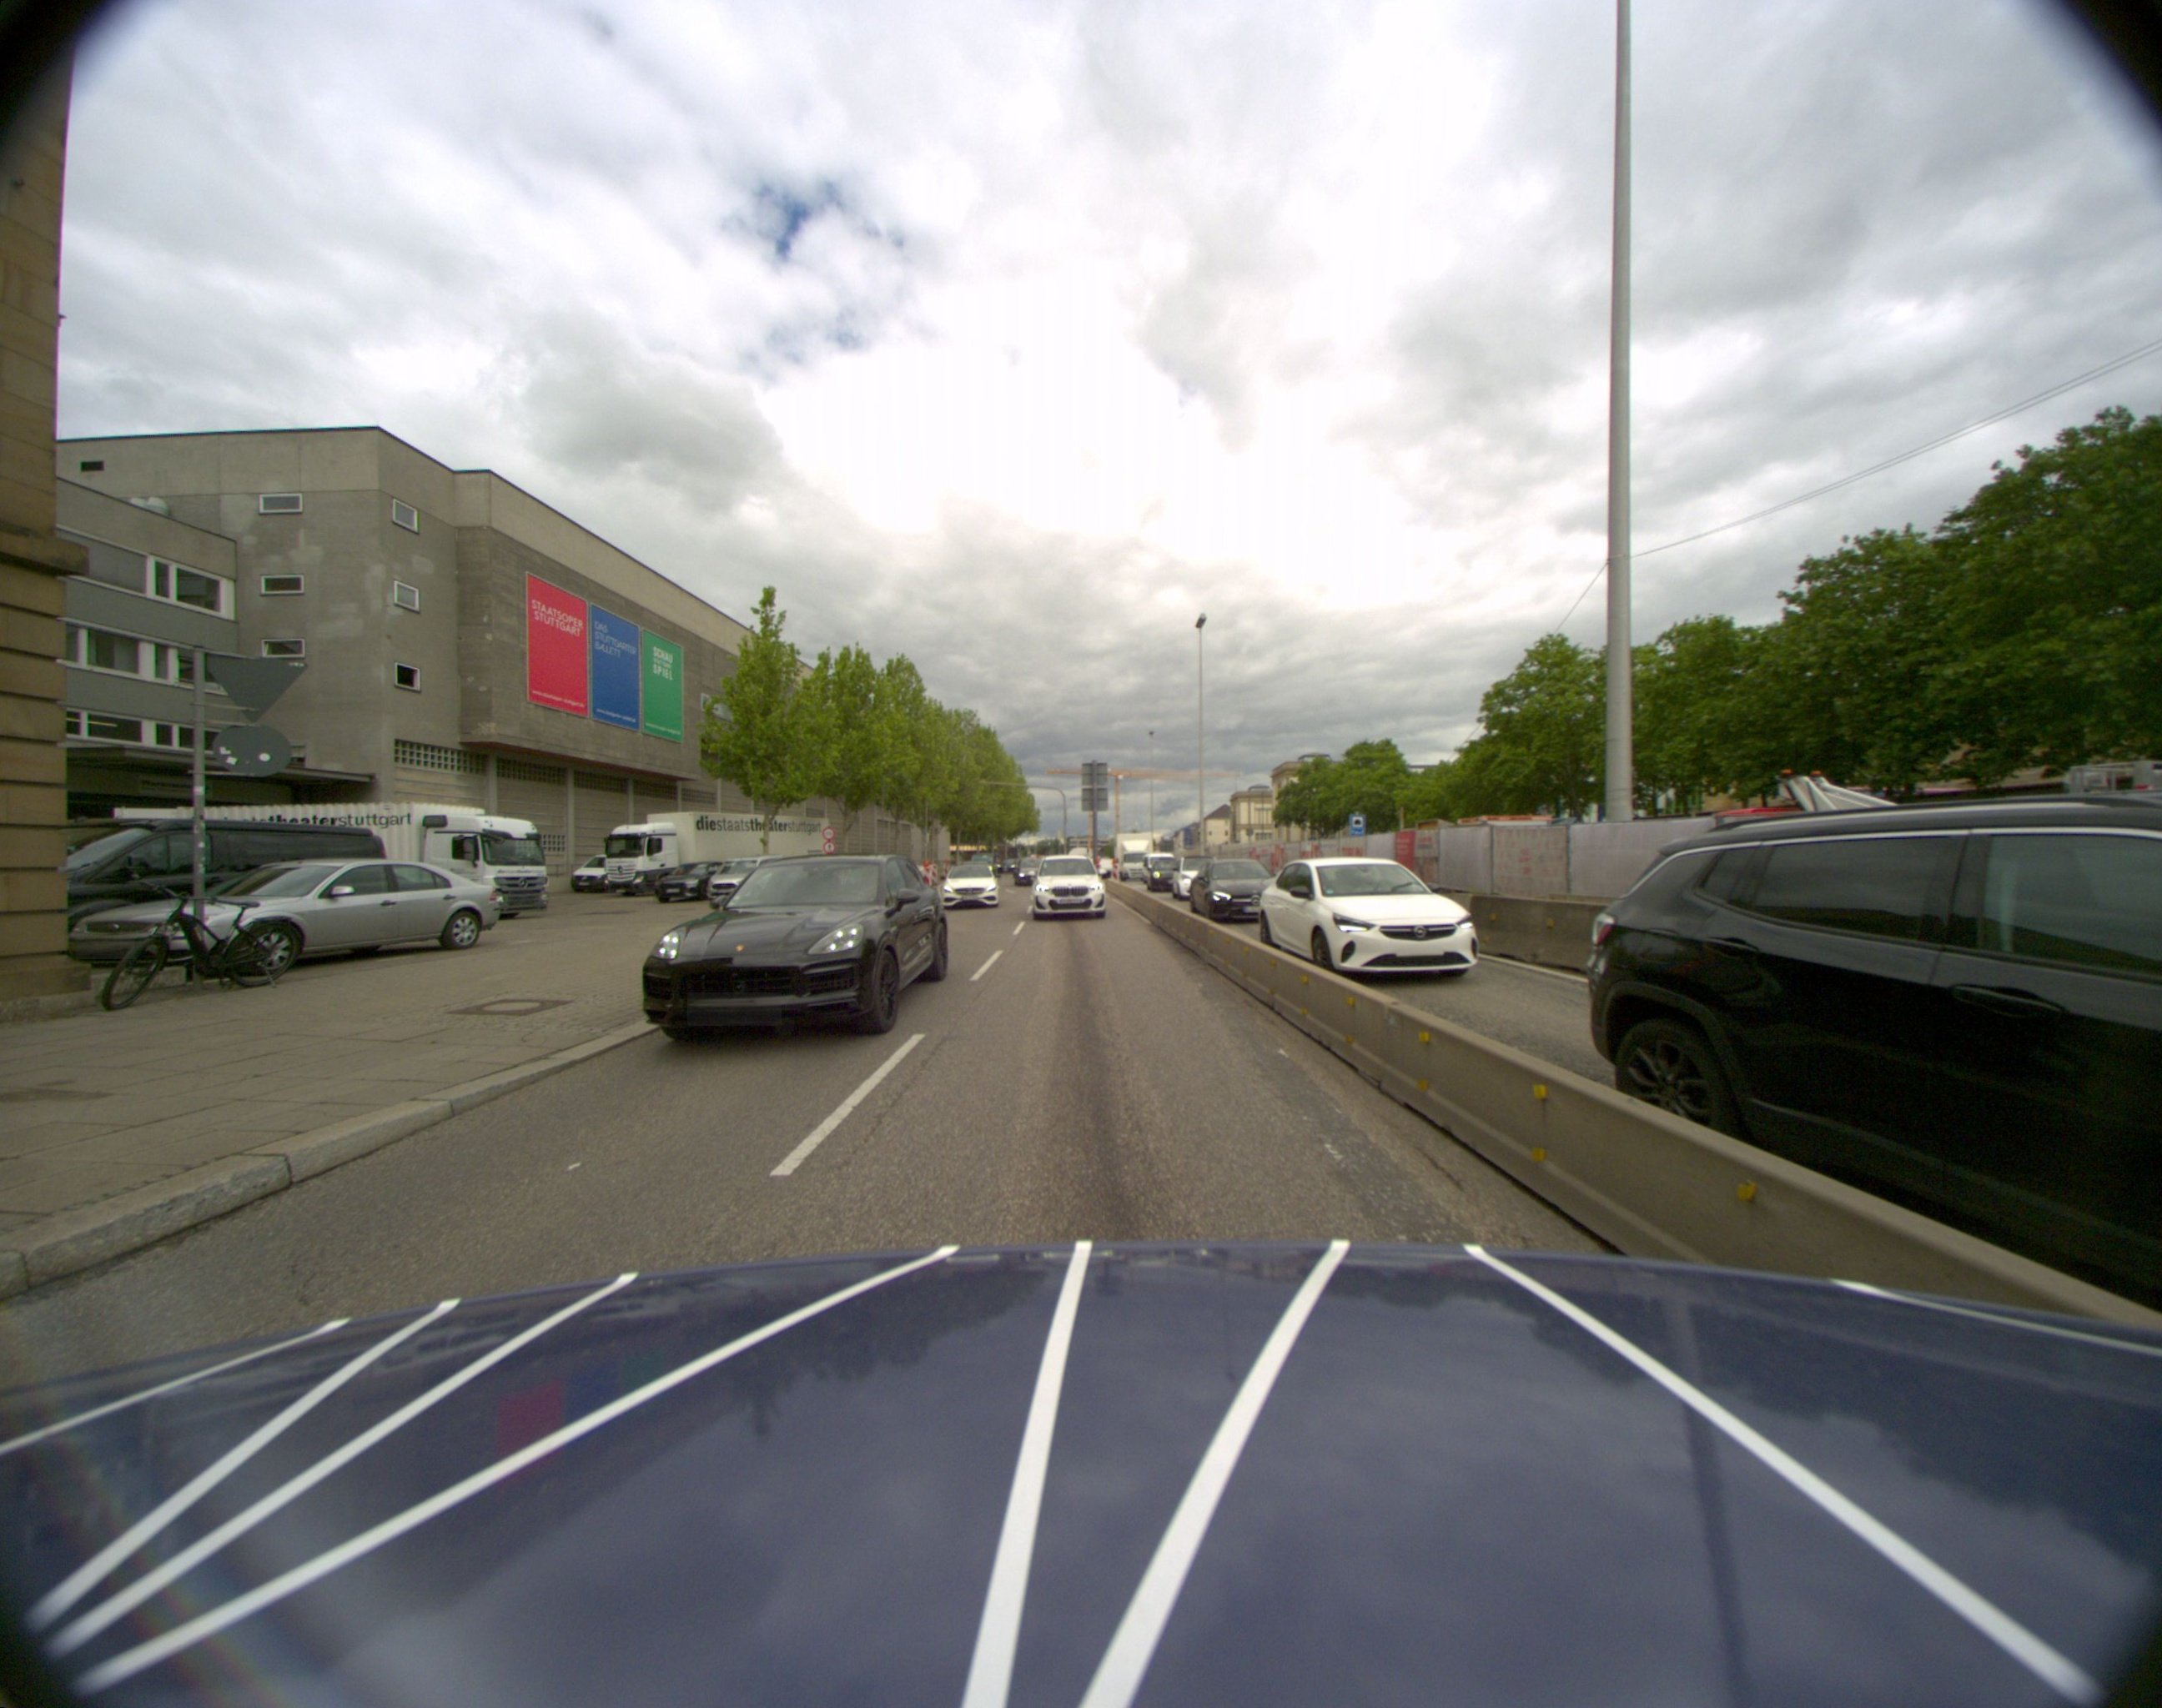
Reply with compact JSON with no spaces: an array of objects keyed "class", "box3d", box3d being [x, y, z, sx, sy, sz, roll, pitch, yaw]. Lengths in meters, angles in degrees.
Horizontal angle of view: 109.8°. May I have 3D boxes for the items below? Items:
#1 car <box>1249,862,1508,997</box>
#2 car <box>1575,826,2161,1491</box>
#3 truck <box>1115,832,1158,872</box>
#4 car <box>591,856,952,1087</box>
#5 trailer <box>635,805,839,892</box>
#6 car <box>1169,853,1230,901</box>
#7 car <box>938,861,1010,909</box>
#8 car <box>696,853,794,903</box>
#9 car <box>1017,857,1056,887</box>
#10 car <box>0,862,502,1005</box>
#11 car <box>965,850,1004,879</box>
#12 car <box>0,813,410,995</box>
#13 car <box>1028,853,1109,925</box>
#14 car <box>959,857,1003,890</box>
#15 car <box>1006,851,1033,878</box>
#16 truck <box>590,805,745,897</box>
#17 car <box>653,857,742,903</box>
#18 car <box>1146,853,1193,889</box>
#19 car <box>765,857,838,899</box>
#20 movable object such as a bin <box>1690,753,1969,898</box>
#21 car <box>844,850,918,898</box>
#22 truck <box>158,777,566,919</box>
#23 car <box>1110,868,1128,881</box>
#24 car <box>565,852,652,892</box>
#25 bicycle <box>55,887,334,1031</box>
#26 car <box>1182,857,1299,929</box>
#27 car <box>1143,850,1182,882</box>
[{"class":"car","box3d":[3.585,0.811,9.983,1.731,1.288,3.934,-2,1,-2]},{"class":"car","box3d":[3.522,0.733,1.942,1.781,1.611,4.045,-2,1,-2]},{"class":"truck","box3d":[4.013,-0.155,56.332,2.977,2.757,7.256,-1,0,2]},{"class":"car","box3d":[-2.682,0.890,7.821,1.908,1.648,4.200,-2,0,1]},{"class":"trailer","box3d":[-18.912,-0.394,43.764,3.154,4.077,13.980,-3,1,10]},{"class":"car","box3d":[4.105,0.758,26.687,1.634,1.546,3.002,-2,0,1]},{"class":"car","box3d":[-3.514,0.997,25.676,1.935,1.368,3.999,-2,0,-2]},{"class":"car","box3d":[-13.681,0.914,31.262,1.809,1.773,4.621,-4,0,1]},{"class":"car","box3d":[-2.370,0.933,41.443,1.802,1.429,4.020,-2,0,1]},{"class":"car","box3d":[-10.676,0.882,10.449,1.782,1.460,4.575,-2,0,2]},{"class":"car","box3d":[-6.744,0.703,53.573,1.952,1.914,4.400,-1,0,3]},{"class":"car","box3d":[-13.055,0.611,11.115,1.953,2.056,4.917,-2,0,2]},{"class":"car","box3d":[-0.374,0.828,20.460,1.856,1.618,4.905,-2,1,-2]},{"class":"car","box3d":[-4.762,0.917,36.628,1.612,1.464,3.622,-1,0,0]},{"class":"car","box3d":[-4.922,0.808,61.265,1.999,2.002,3.999,-2,0,-3]},{"class":"truck","box3d":[-20.073,-0.162,37.466,3.137,4.061,6.577,-2,1,10]},{"class":"car","box3d":[-15.883,1.032,31.695,1.719,1.679,3.761,-2,0,1]},{"class":"car","box3d":[3.861,0.708,33.680,1.651,1.430,3.935,-2,0,1]},{"class":"car","box3d":[-11.296,0.933,30.937,1.584,1.521,3.503,-2,0,1]},{"class":"movable object such as a bin","box3d":[12.636,-0.431,13.130,1.526,2.172,3.292,-1,0,-2]},{"class":"car","box3d":[-7.817,0.755,30.101,1.809,1.728,4.485,-2,0,-2]},{"class":"truck","box3d":[-22.572,-0.167,24.227,10.377,4.181,3.000,0,1,2]},{"class":"car","box3d":[5.200,2.768,104.268,1.873,1.499,3.998,-3,1,-4]},{"class":"car","box3d":[-23.883,0.871,38.591,1.558,1.871,4.001,-2,0,6]},{"class":"bicycle","box3d":[-9.142,1.010,7.988,0.610,1.217,1.962,2,0,0]},{"class":"car","box3d":[3.652,0.825,18.230,1.859,1.407,4.565,-2,0,1]},{"class":"car","box3d":[4.683,0.647,44.235,1.842,1.751,4.480,-1,0,1]}]
